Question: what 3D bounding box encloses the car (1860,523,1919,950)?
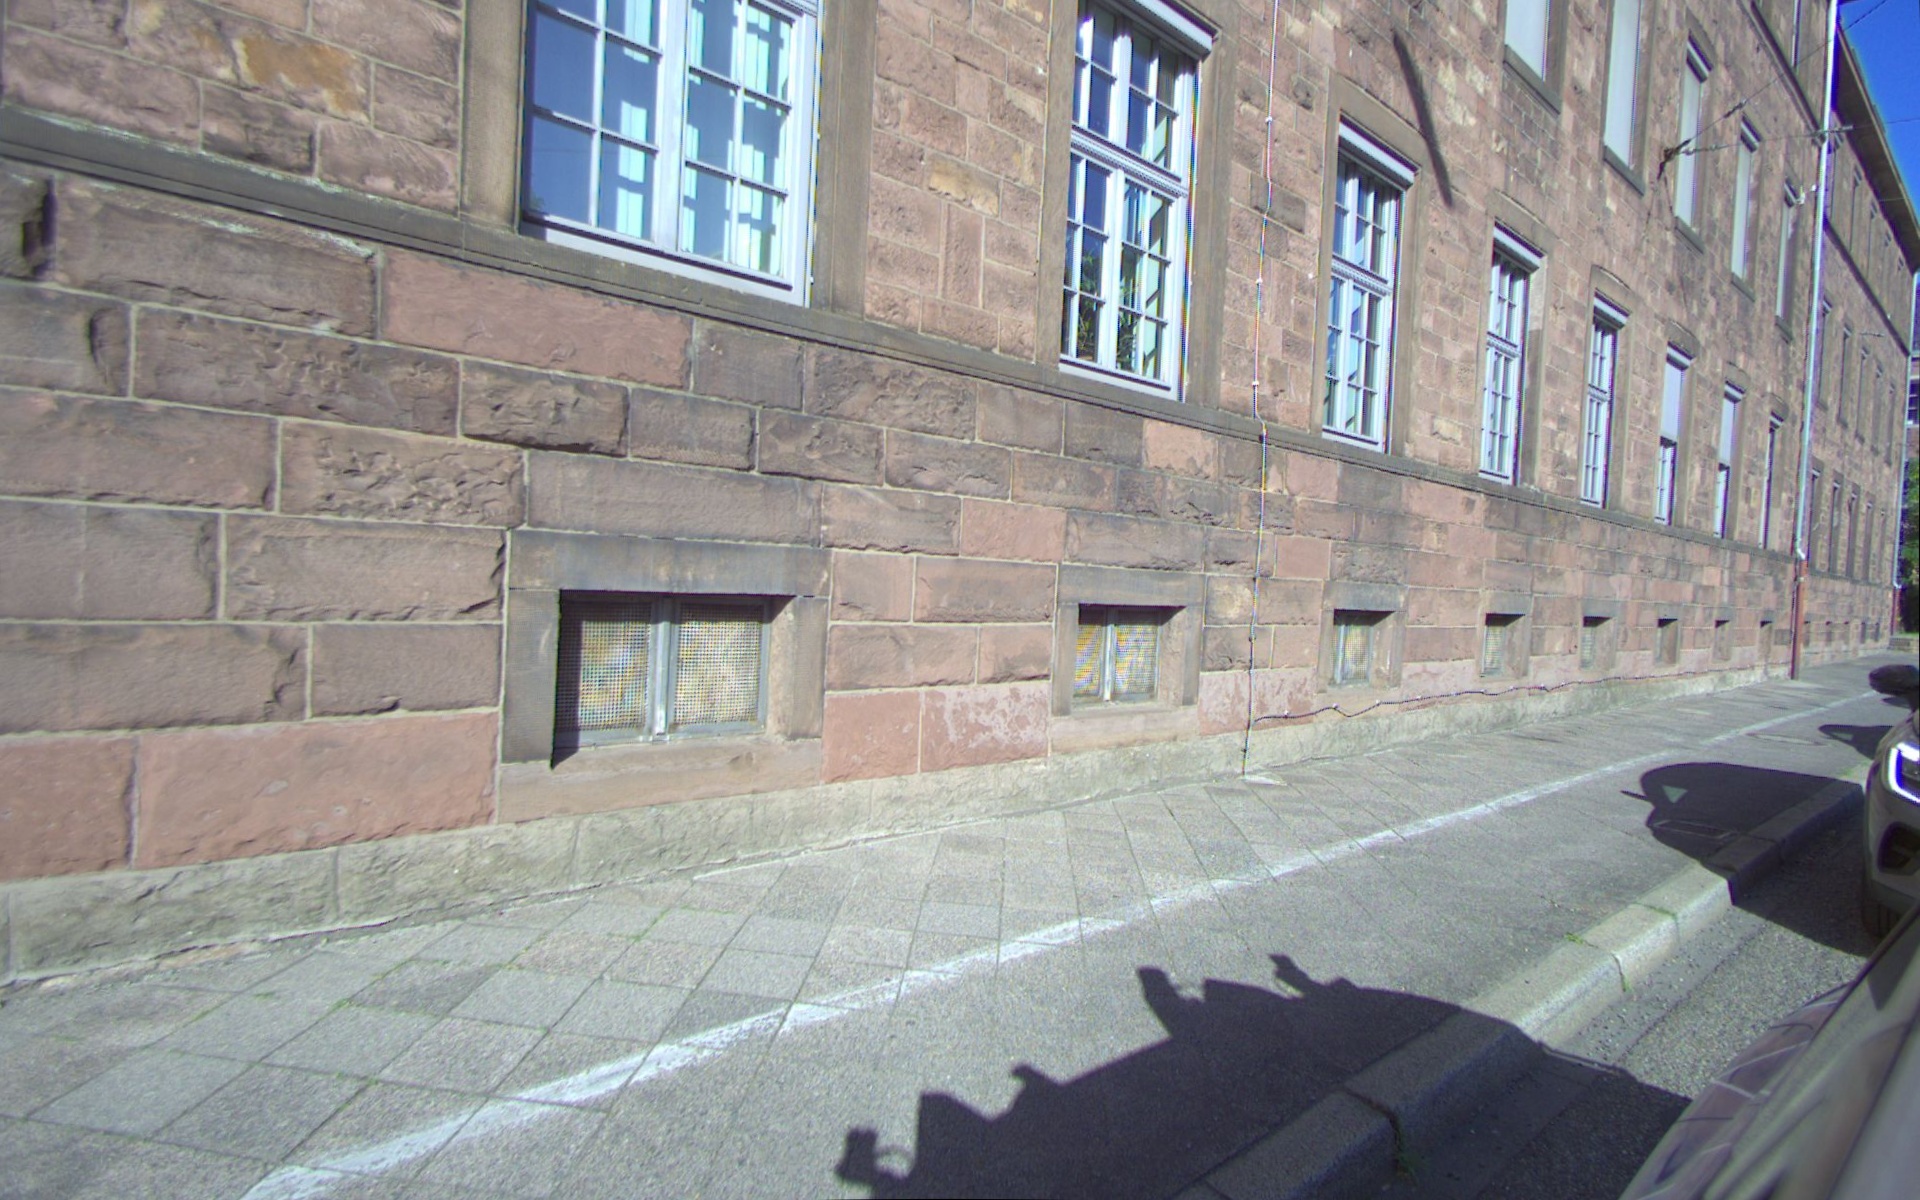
[{"bbox_3d":[5.518,0.556,4.589,3.735,1.624,1.793,1,1,-43],"label":"car"}]
